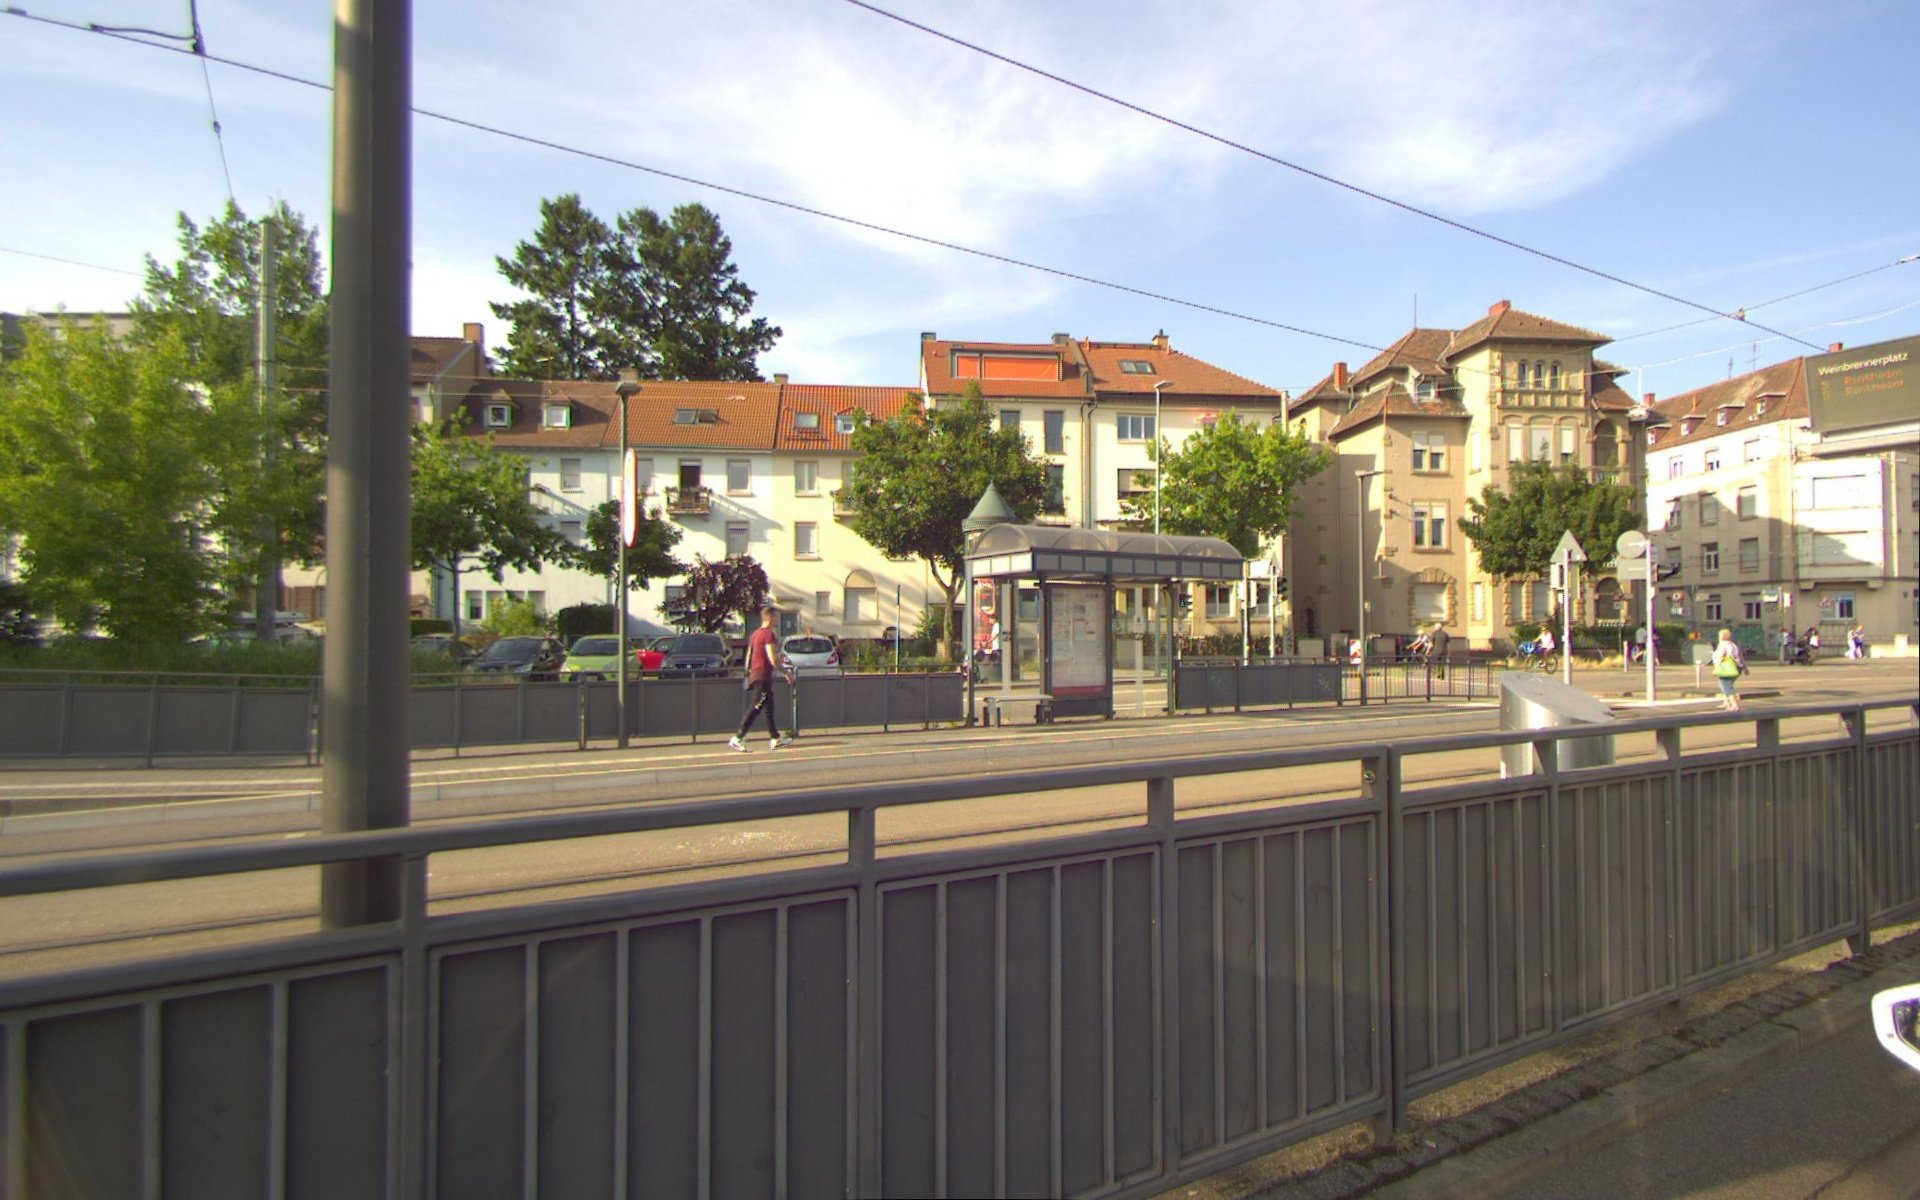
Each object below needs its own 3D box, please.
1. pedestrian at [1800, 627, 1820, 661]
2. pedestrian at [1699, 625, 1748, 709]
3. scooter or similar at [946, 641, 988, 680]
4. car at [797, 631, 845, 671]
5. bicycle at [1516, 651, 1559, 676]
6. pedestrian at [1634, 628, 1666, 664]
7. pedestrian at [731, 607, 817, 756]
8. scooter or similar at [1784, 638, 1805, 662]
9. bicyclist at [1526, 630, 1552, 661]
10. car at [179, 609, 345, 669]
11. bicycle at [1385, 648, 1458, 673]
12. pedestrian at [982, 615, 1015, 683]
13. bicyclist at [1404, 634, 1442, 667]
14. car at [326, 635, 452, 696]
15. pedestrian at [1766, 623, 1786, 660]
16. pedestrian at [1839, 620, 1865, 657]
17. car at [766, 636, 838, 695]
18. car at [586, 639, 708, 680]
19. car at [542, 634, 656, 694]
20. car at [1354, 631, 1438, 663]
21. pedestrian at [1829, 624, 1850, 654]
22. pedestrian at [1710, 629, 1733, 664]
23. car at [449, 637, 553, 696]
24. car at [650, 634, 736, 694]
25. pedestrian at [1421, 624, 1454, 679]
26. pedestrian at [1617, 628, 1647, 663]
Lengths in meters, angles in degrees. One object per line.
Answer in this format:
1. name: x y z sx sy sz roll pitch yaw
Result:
1. pedestrian: 38.204 1.959 45.150 0.540 1.520 0.437 0 -2 -15
2. pedestrian: 15.131 1.317 19.905 0.627 1.620 0.608 1 -2 -36
3. scooter or similar: 0.175 1.572 26.171 1.006 1.001 0.556 0 -2 -15
4. car: -6.058 2.200 44.207 1.962 1.684 3.997 0 -2 -6
5. bicycle: 20.029 2.194 34.836 1.666 0.845 0.523 1 -2 -30
6. pedestrian: 30.312 2.012 44.144 0.768 1.572 0.831 0 -2 -8
7. pedestrian: -2.224 0.958 11.986 0.867 1.706 0.551 1 -5 -30
8. scooter or similar: 38.265 2.286 46.042 0.675 1.093 0.541 2 0 -30
9. bicyclist: 20.114 1.564 34.889 0.671 1.058 0.510 1 -2 -30
10. car: -18.662 1.054 27.116 1.813 1.505 3.999 0 -2 -3
11. bicycle: 18.185 2.367 39.581 2.954 0.926 0.783 1 -2 -22
12. pedestrian: 1.016 1.293 26.438 0.750 1.769 0.547 0 -2 -15
13. bicyclist: 18.225 1.972 39.575 1.157 1.278 0.762 1 -2 -22
14. car: -14.404 1.603 25.594 1.968 1.416 3.985 0 -2 -18
15. pedestrian: 37.410 1.903 46.043 0.601 1.647 0.506 1 -2 -29
16. pedestrian: 49.797 2.143 56.065 0.773 2.040 0.775 0 -2 -15
17. car: -4.349 1.767 27.825 1.815 1.505 3.995 0 -2 -9
18. car: -11.226 2.125 36.247 3.927 1.416 1.836 0 -2 -9
19. car: -9.687 1.690 27.262 1.813 1.505 3.999 0 -2 -3
20. car: 20.370 2.172 47.128 1.732 1.327 4.111 2 0 -7
21. pedestrian: 48.954 2.174 55.895 0.576 1.682 0.620 0 -2 -14
22. pedestrian: 35.023 2.128 46.201 0.702 1.561 0.626 1 -2 -30
23. car: -11.883 1.678 26.254 1.968 1.416 3.985 0 -2 -18
24. car: -7.171 1.686 27.319 1.815 1.505 3.995 0 -2 -9
25. pedestrian: 14.752 1.572 31.054 0.778 1.667 0.757 -1 -2 16
26. pedestrian: 30.168 2.042 45.109 0.768 1.572 0.831 0 -2 -8
